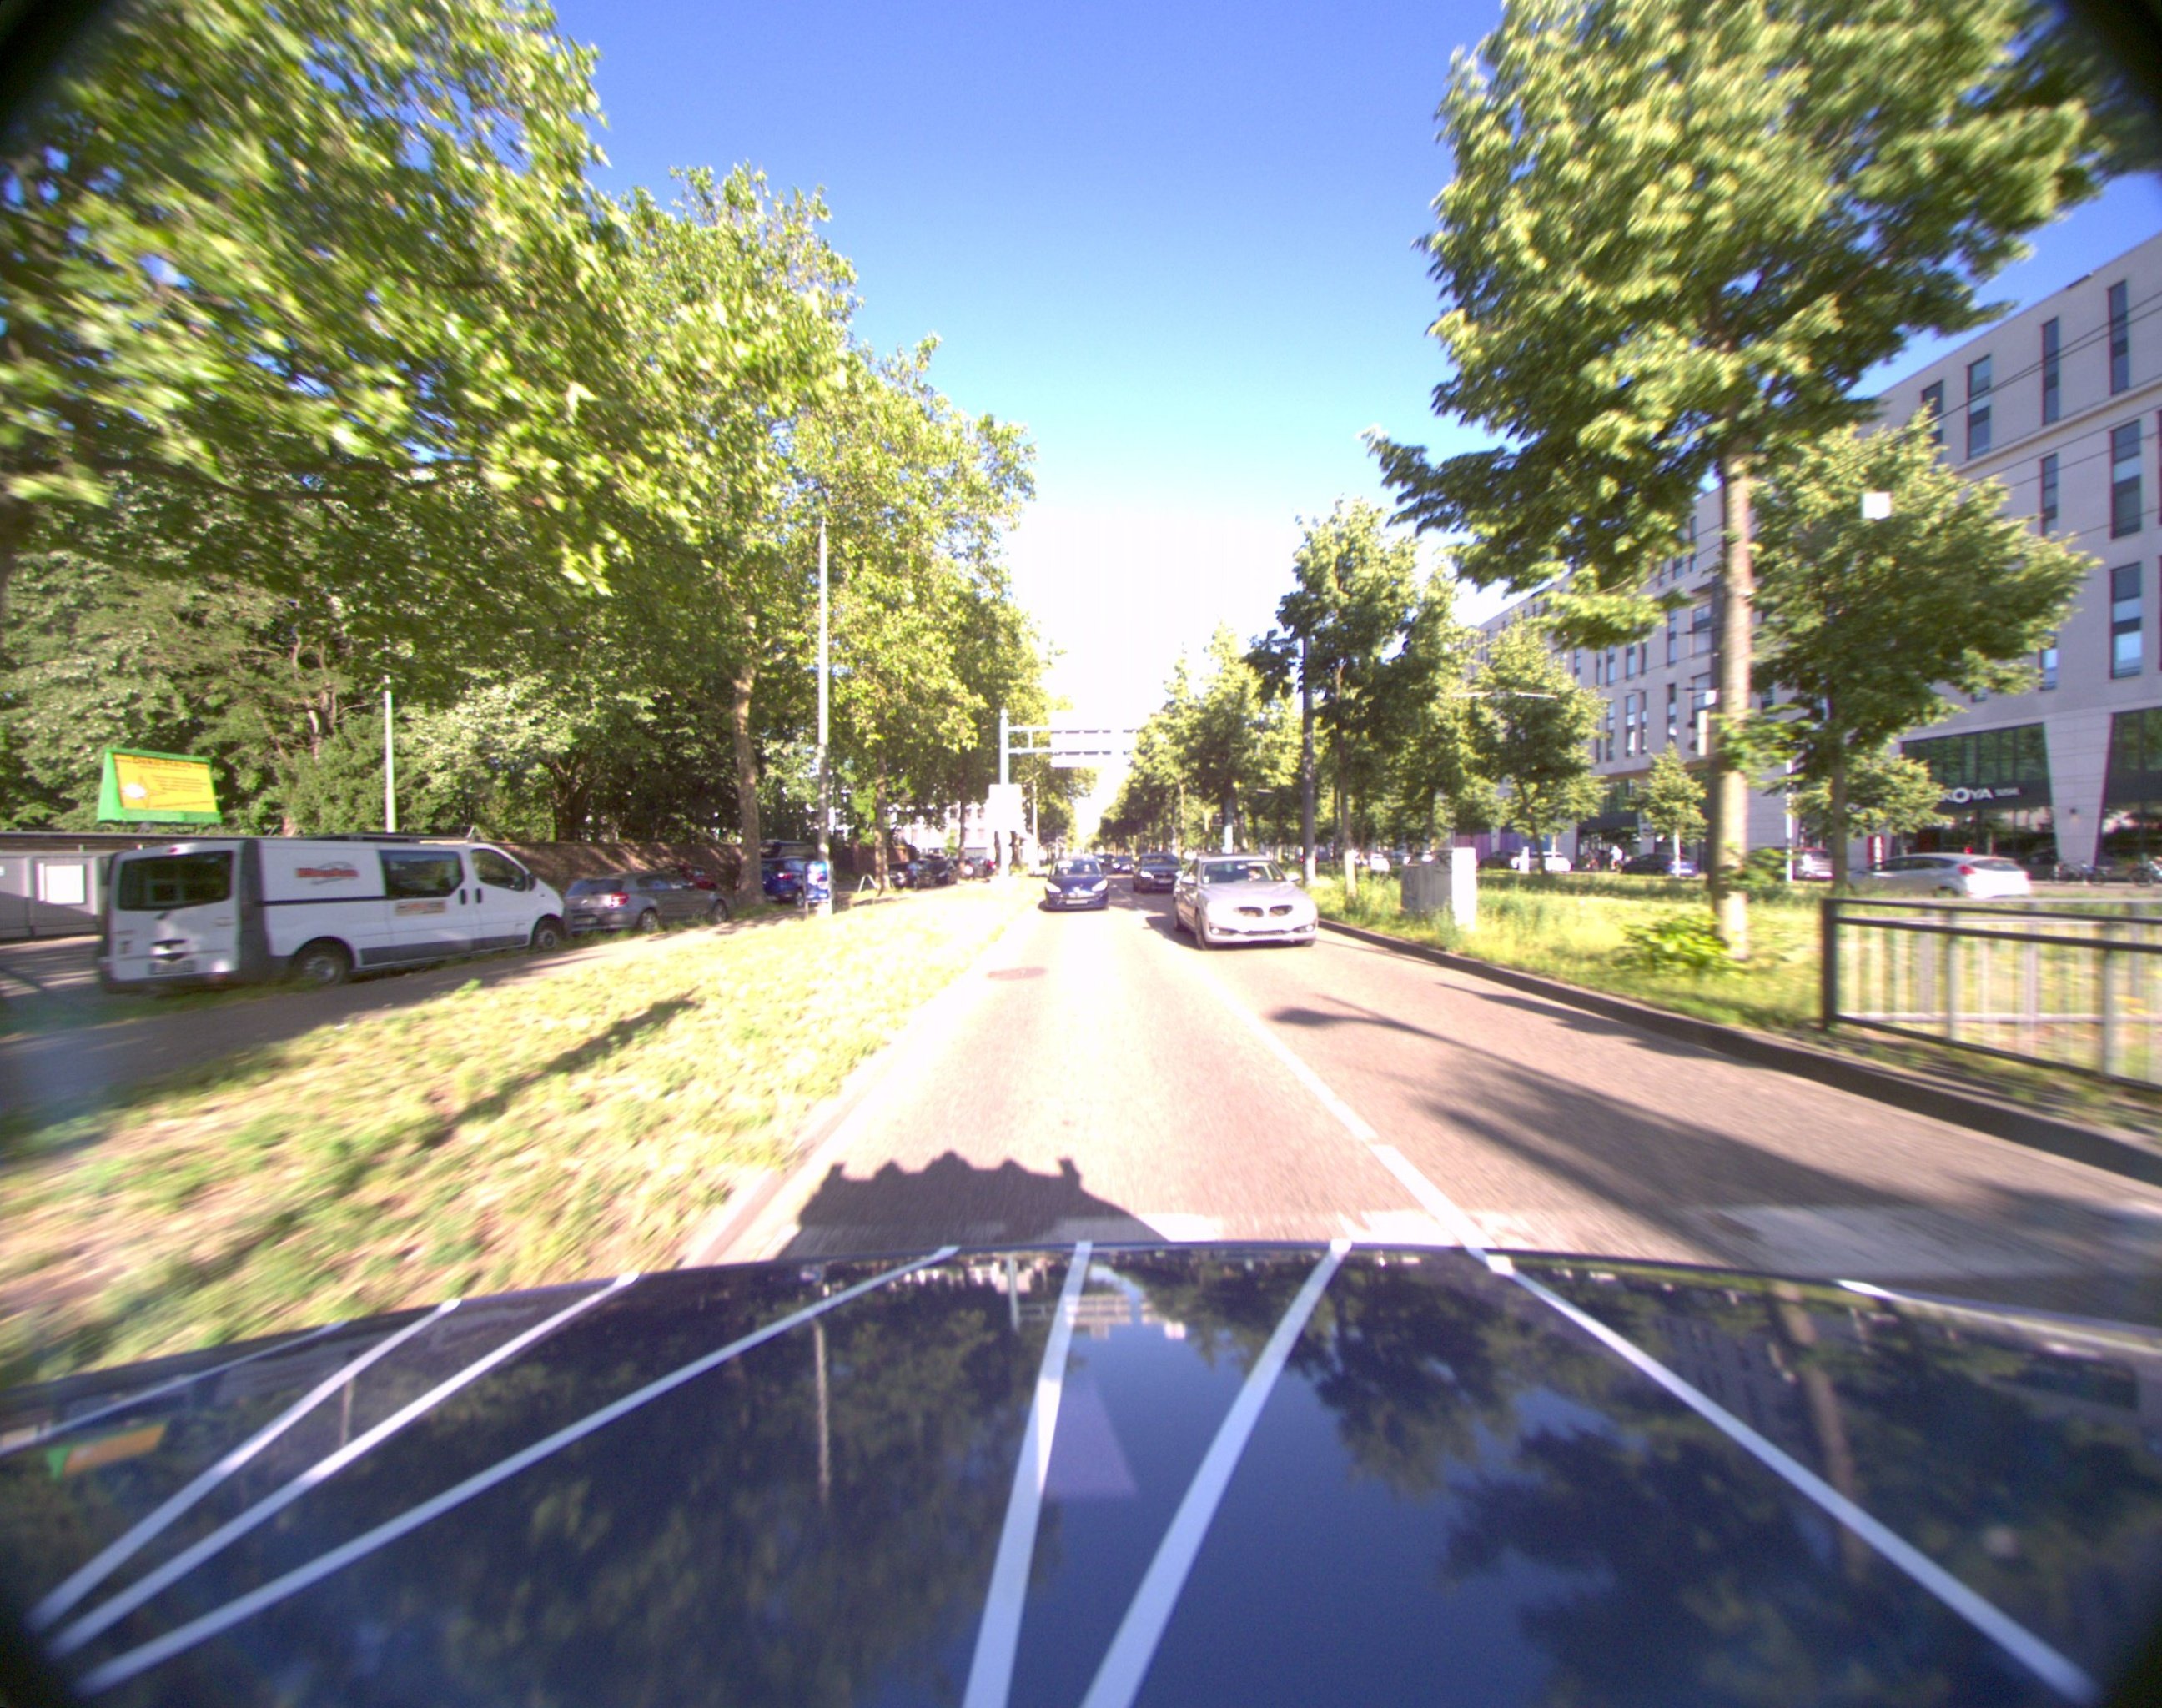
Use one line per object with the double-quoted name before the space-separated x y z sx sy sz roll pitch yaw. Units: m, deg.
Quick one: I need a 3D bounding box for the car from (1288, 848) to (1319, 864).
"car" 23.184 0.156 79.354 1.998 1.519 4.318 -2 1 1

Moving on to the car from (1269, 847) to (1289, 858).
"car" 32.744 -0.202 125.675 1.999 1.719 4.337 -3 1 -2

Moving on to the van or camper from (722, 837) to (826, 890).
"van or camper" -16.894 0.471 42.322 2.562 2.668 6.567 1 0 5

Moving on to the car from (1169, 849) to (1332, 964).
"car" 2.728 0.758 13.250 1.886 1.569 4.277 -2 1 1

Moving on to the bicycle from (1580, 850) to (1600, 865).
"bicycle" 36.083 0.251 53.880 0.431 1.011 1.484 -2 1 2

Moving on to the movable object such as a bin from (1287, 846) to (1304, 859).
"movable object such as a bin" 32.143 -0.195 113.809 1.975 1.784 1.555 -3 1 -1

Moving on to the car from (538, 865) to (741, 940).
"car" -9.622 0.995 17.018 1.998 1.282 4.052 -2 1 2

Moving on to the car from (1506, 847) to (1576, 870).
"car" 31.916 0.262 52.861 1.999 1.433 4.454 -3 1 -2

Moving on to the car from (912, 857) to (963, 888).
"car" -7.636 0.959 40.800 1.797 1.429 3.884 -2 1 2

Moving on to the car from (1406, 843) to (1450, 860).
"car" 32.086 -0.212 70.437 1.998 1.433 4.455 -2 1 0

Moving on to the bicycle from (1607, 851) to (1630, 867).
"bicycle" 37.384 0.349 52.896 0.380 1.011 1.800 -2 1 2

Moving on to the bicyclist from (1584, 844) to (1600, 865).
"bicyclist" 36.061 0.046 53.610 0.431 1.411 0.956 -2 1 2

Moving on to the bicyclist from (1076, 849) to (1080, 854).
"bicyclist" -0.814 -0.681 210.225 1.086 1.315 0.639 -1 1 3

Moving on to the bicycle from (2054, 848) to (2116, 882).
"bicycle" 38.989 0.405 29.529 0.588 1.245 1.842 -2 1 22

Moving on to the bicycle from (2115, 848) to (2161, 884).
"bicycle" 38.945 0.420 27.479 0.589 1.245 1.839 -2 1 0

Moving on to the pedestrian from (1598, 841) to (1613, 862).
"pedestrian" 42.276 -0.202 61.284 0.637 1.641 0.719 -3 1 -7

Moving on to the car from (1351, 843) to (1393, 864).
"car" 23.562 -0.050 61.759 1.998 1.562 4.167 -1 0 3

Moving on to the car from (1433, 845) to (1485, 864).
"car" 31.932 0.045 64.354 1.999 1.433 4.454 -3 1 -2

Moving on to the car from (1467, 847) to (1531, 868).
"car" 31.725 0.249 57.834 1.999 1.433 4.935 -3 1 -2

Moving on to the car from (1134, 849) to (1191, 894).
"car" 3.130 0.618 29.829 1.950 1.514 4.000 -2 1 3

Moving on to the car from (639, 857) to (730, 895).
"car" -17.177 0.917 33.096 1.693 1.464 3.759 1 1 6

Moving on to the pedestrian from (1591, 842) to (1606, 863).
"pedestrian" 41.461 -0.160 60.849 0.637 1.641 0.720 -3 1 -2

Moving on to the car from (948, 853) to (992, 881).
"car" -6.990 0.778 48.194 1.797 1.551 4.020 -4 1 4

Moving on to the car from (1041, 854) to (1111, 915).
"car" -0.077 0.805 21.884 1.766 1.462 4.000 -2 1 2

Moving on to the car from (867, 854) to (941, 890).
"car" -8.185 0.801 35.597 1.998 1.373 4.678 -3 1 4

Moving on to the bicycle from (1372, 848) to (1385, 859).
"bicycle" 38.776 -0.094 99.081 0.949 1.273 2.772 -2 1 8

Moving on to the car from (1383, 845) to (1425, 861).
"car" 31.995 -0.133 75.382 1.999 1.433 4.777 -3 1 -2

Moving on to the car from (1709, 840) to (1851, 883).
"car" 31.842 0.274 34.850 1.999 1.762 4.775 -3 1 -2

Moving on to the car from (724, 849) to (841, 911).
"car" -9.140 0.720 23.700 1.741 1.632 4.352 -2 1 2

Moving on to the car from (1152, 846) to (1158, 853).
"car" 24.495 -1.509 251.479 1.998 2.002 4.000 -2 1 3

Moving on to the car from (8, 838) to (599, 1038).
"car" -9.951 0.834 10.822 2.195 2.002 5.819 -2 1 2

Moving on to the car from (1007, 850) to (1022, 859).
"car" -12.467 0.096 142.838 1.998 1.477 4.402 2 1 3

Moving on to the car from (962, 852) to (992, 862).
"car" -14.863 0.430 108.600 4.089 1.459 1.715 1 1 1

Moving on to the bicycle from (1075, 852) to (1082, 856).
"bicycle" -0.649 -0.017 210.221 1.927 0.899 0.647 -1 1 3

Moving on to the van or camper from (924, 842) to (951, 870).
"van or camper" -14.702 0.131 78.098 1.999 2.715 4.962 2 1 -2

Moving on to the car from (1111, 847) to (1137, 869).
"car" 3.277 0.287 58.770 1.782 1.571 3.783 -2 1 1

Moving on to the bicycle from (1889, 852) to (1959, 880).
"bicycle" 39.055 0.554 35.238 0.735 1.191 2.240 -2 1 0

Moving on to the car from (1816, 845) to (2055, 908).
"car" 23.060 0.532 20.786 1.999 1.477 3.999 -3 1 -1

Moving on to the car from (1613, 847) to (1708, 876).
"car" 31.616 0.366 41.639 1.963 1.433 4.265 -2 1 1

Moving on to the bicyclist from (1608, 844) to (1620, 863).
"bicyclist" 37.393 -0.012 53.323 0.368 1.296 0.719 -2 1 2

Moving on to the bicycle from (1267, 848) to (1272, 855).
"bicycle" 39.933 -0.518 160.951 0.663 1.317 2.336 -2 1 7

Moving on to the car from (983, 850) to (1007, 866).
"car" -9.363 0.392 82.627 2.001 1.630 3.995 -3 1 -14

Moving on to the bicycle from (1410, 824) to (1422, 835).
"bicycle" 39.205 -2.887 88.982 0.599 1.273 1.608 -3 1 -1
